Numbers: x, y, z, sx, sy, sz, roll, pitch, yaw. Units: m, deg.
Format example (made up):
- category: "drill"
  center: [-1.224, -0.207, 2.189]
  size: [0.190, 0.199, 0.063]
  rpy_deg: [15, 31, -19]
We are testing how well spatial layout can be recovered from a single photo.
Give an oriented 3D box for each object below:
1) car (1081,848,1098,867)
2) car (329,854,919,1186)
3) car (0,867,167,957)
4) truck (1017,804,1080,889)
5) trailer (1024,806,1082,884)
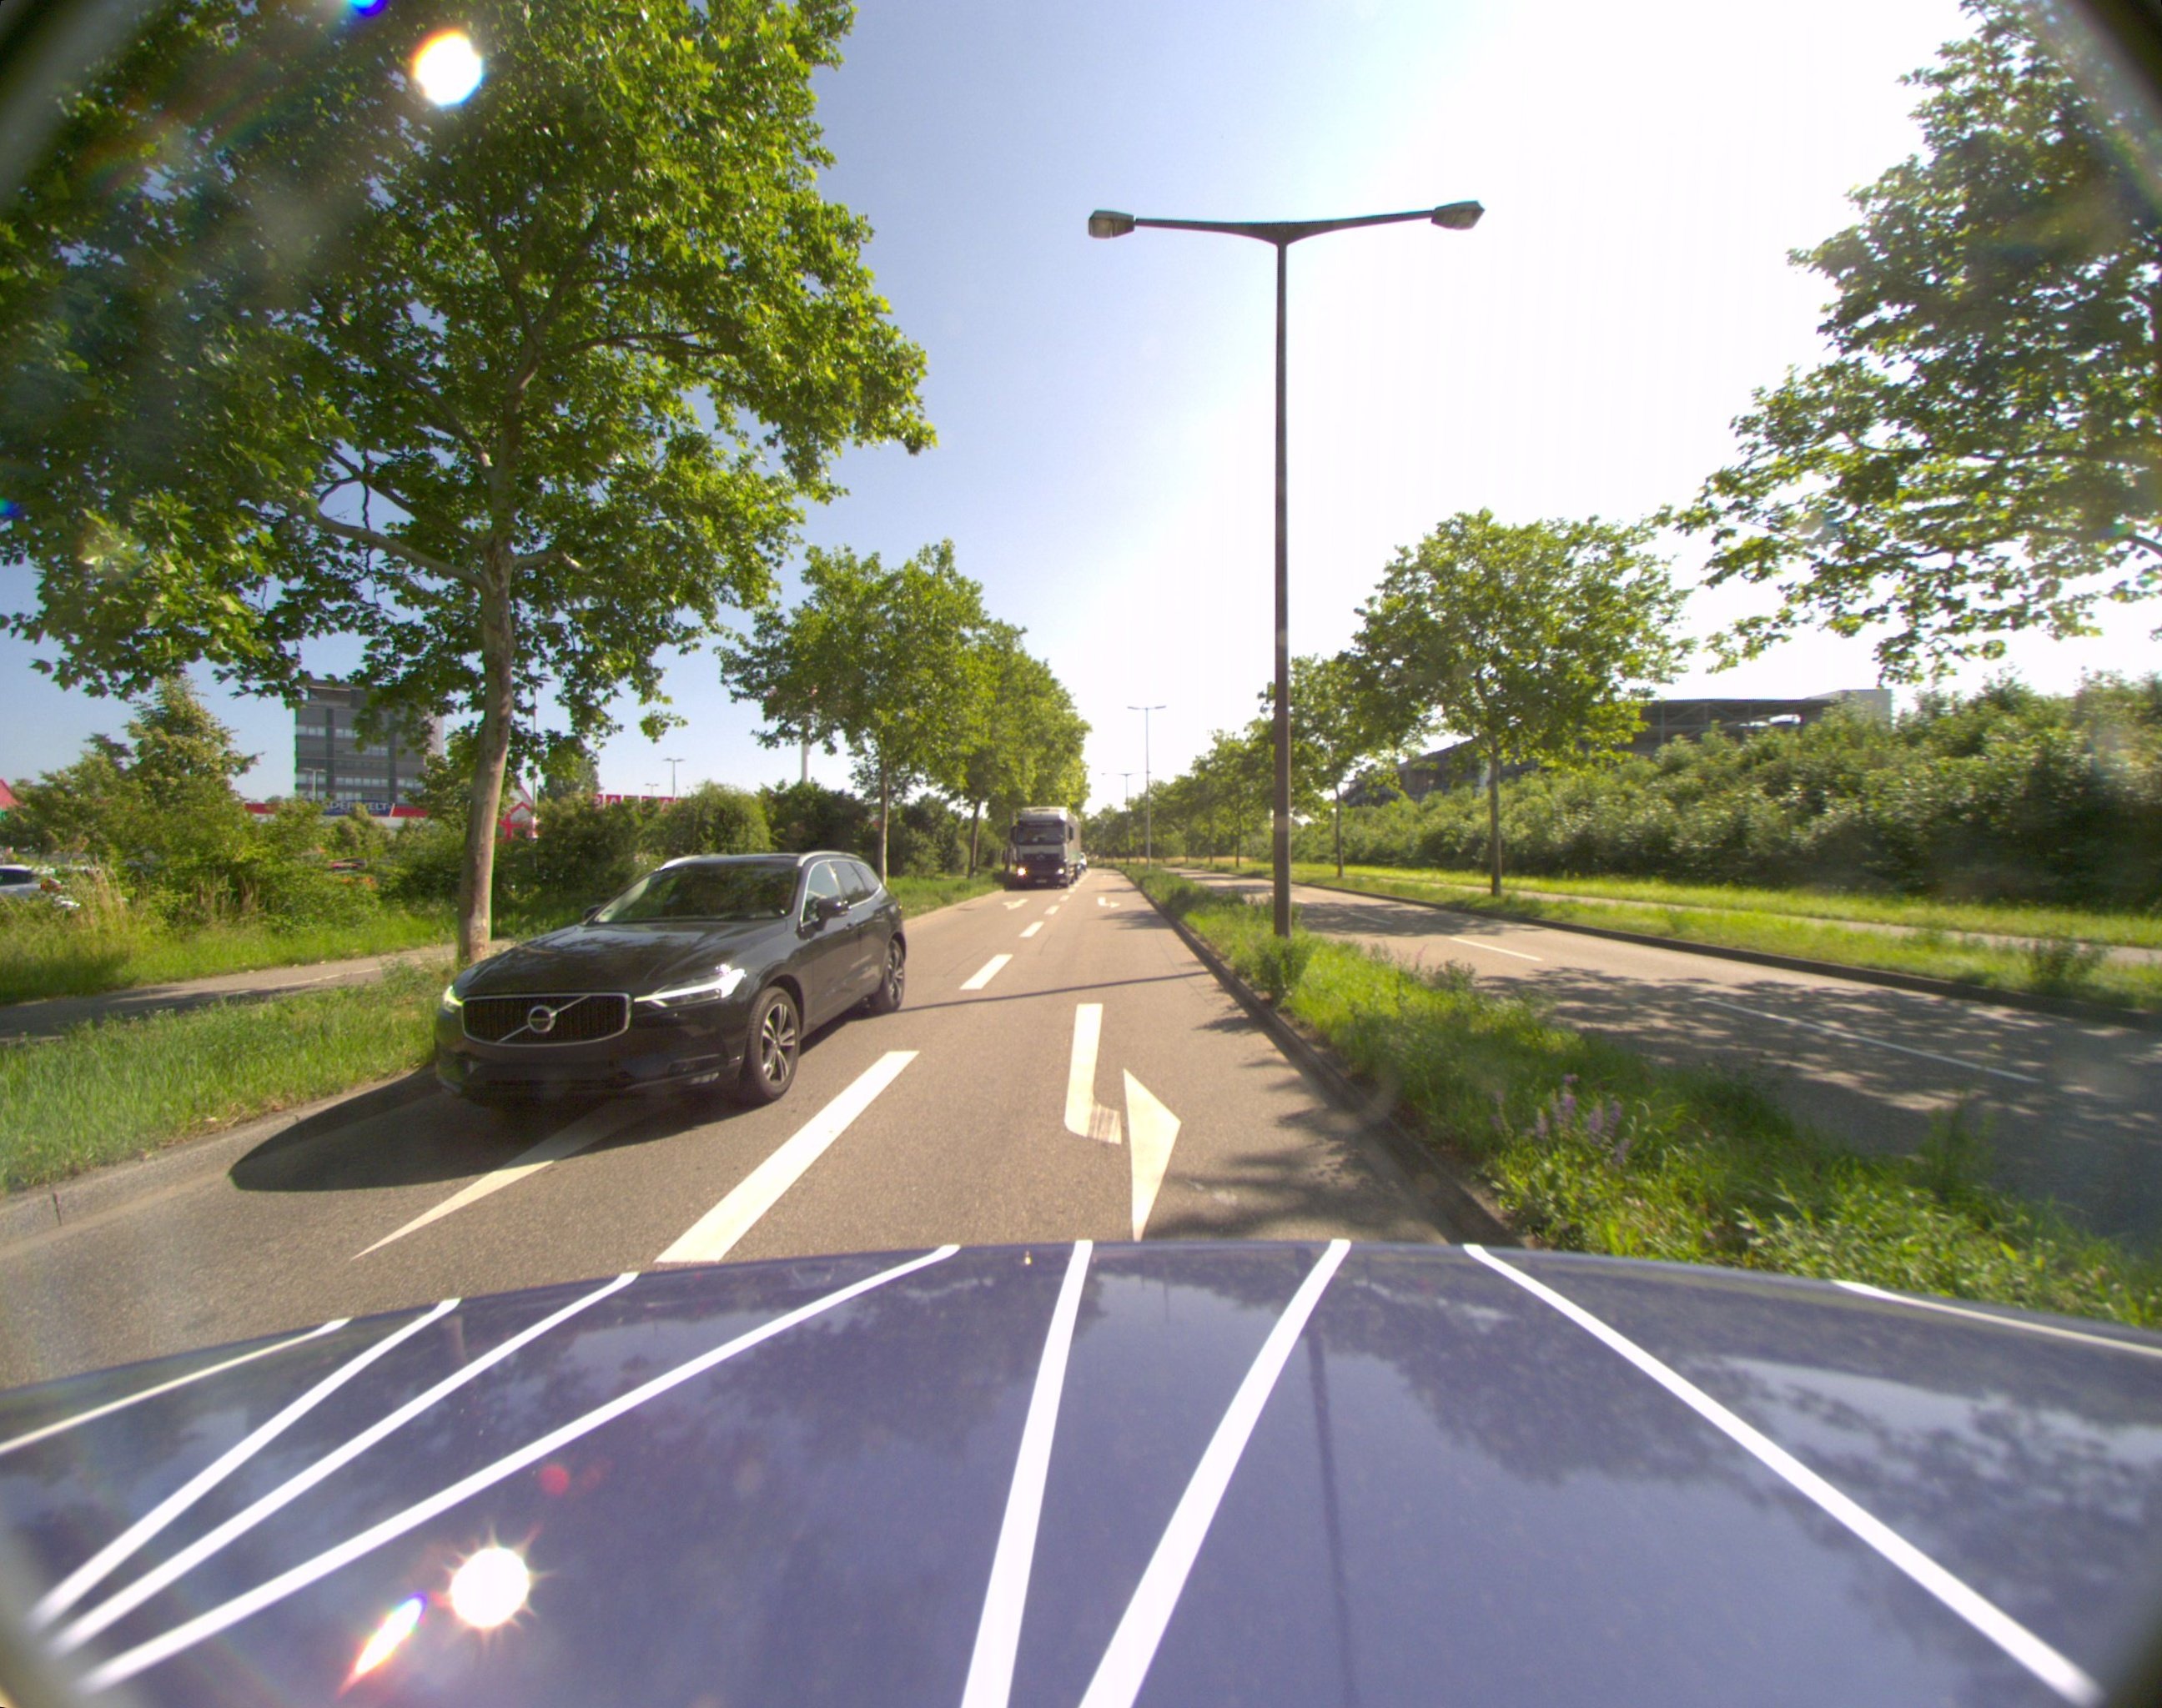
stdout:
- category: "car"
  center: [0.853, 0.347, 78.250]
  size: [1.691, 1.893, 4.000]
  rpy_deg: [-1, 1, 1]
- category: "car"
  center: [-2.812, 0.854, 6.156]
  size: [1.924, 1.613, 4.564]
  rpy_deg: [-1, 1, 1]
- category: "car"
  center: [-21.889, 1.184, 15.750]
  size: [3.558, 1.686, 1.718]
  rpy_deg: [-1, 1, -4]
- category: "truck"
  center: [-1.516, -0.382, 38.081]
  size: [2.741, 3.872, 5.851]
  rpy_deg: [-1, 1, 1]
- category: "trailer"
  center: [-1.462, -0.504, 45.054]
  size: [2.805, 4.023, 10.796]
  rpy_deg: [-1, 1, 1]
